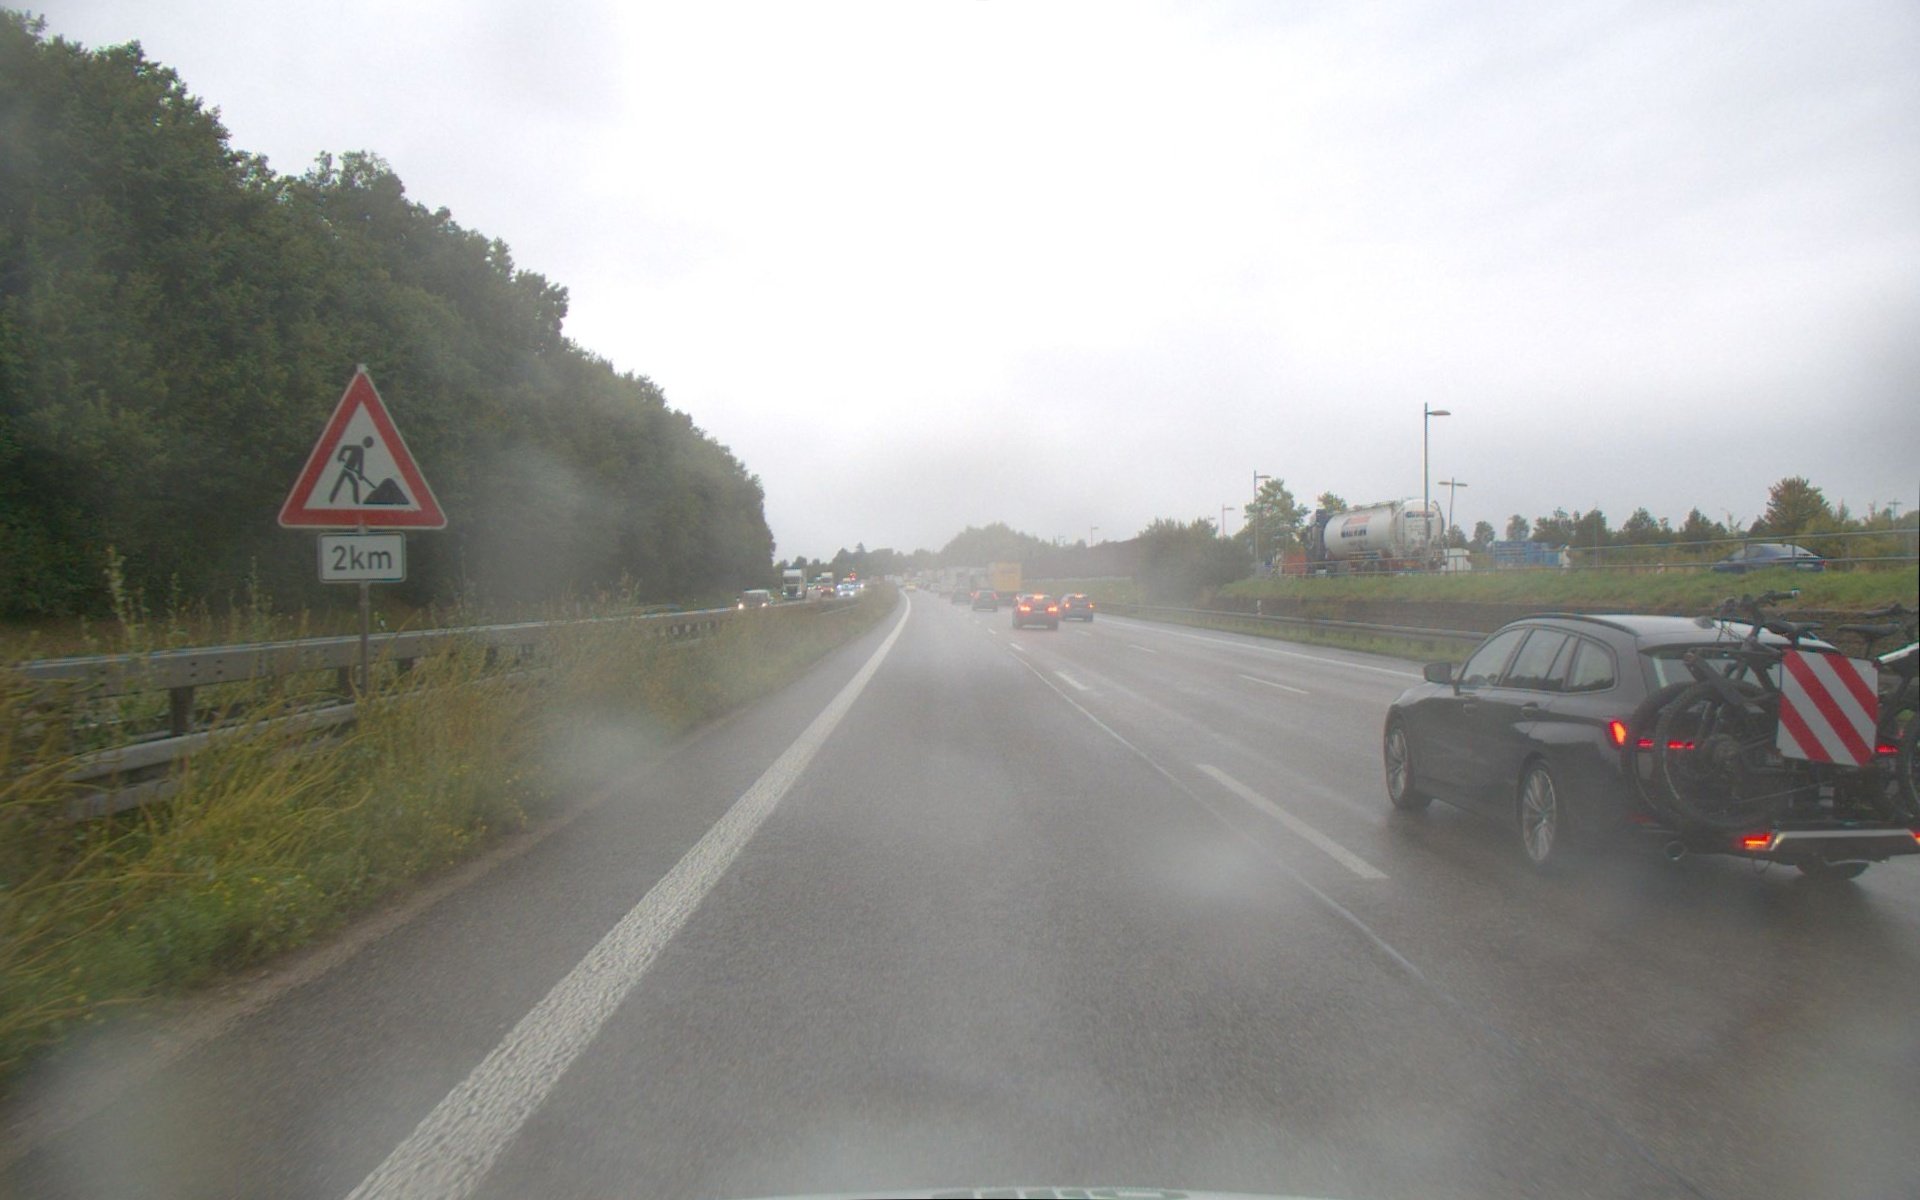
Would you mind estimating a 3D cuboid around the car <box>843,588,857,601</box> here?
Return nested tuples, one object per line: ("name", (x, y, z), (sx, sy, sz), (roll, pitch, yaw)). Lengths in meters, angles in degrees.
("car", (-13.402, -0.690, 201.462), (1.571, 1.611, 3.571), (-1, 0, -1))

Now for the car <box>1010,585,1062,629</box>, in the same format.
("car", (3.223, 0.297, 70.448), (1.953, 1.791, 3.999), (-1, 0, -1))

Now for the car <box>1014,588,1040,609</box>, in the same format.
("car", (5.500, -0.128, 136.135), (1.953, 1.657, 3.999), (-1, 0, -1))

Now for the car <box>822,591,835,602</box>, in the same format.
("car", (-19.069, -0.470, 239.969), (1.571, 1.611, 3.571), (-1, 0, -1))

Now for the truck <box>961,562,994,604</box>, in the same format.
("truck", (2.311, -2.293, 227.612), (4.200, 5.665, 12.237), (-1, 0, -1))

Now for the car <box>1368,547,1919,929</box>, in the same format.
("car", (4.207, 0.664, 10.220), (2.015, 1.701, 5.521), (1, -1, 0))

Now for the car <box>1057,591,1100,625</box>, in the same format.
("car", (6.499, 0.434, 91.027), (1.953, 1.791, 3.999), (-1, 0, -1))

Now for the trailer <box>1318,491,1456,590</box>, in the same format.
("trailer", (19.832, -2.601, 77.841), (2.924, 4.229, 12.954), (-1, 0, -1))

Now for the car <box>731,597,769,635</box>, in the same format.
("car", (-10.996, 0.822, 86.834), (1.571, 1.917, 3.571), (-1, 0, -1))

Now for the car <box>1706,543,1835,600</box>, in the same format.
("car", (24.898, -0.862, 50.936), (1.753, 1.653, 3.996), (-1, 0, -5))

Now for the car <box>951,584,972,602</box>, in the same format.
("car", (0.101, -0.683, 159.818), (1.953, 1.657, 3.999), (-1, 0, -1))

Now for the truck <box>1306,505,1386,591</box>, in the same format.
("truck", (19.742, -2.611, 84.842), (2.889, 4.218, 4.921), (-1, 0, 0))

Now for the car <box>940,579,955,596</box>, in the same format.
("car", (-1.651, -1.638, 218.210), (1.953, 2.244, 3.999), (-1, 0, -1))

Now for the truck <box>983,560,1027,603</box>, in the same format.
("truck", (4.387, -1.791, 164.519), (3.844, 4.051, 12.237), (-1, 0, -1))

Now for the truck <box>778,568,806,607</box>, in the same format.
("truck", (-22.389, -1.618, 220.902), (2.930, 5.023, 9.481), (-1, 0, -1))

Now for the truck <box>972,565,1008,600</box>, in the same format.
("truck", (3.544, -2.029, 198.093), (3.844, 4.051, 12.237), (-1, 0, -1))

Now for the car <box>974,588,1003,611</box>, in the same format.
("car", (2.093, -0.038, 121.568), (1.953, 1.657, 3.999), (-1, 0, -1))

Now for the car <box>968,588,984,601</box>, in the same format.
("car", (2.077, -0.670, 213.496), (1.953, 1.657, 3.999), (-1, 0, -1))
